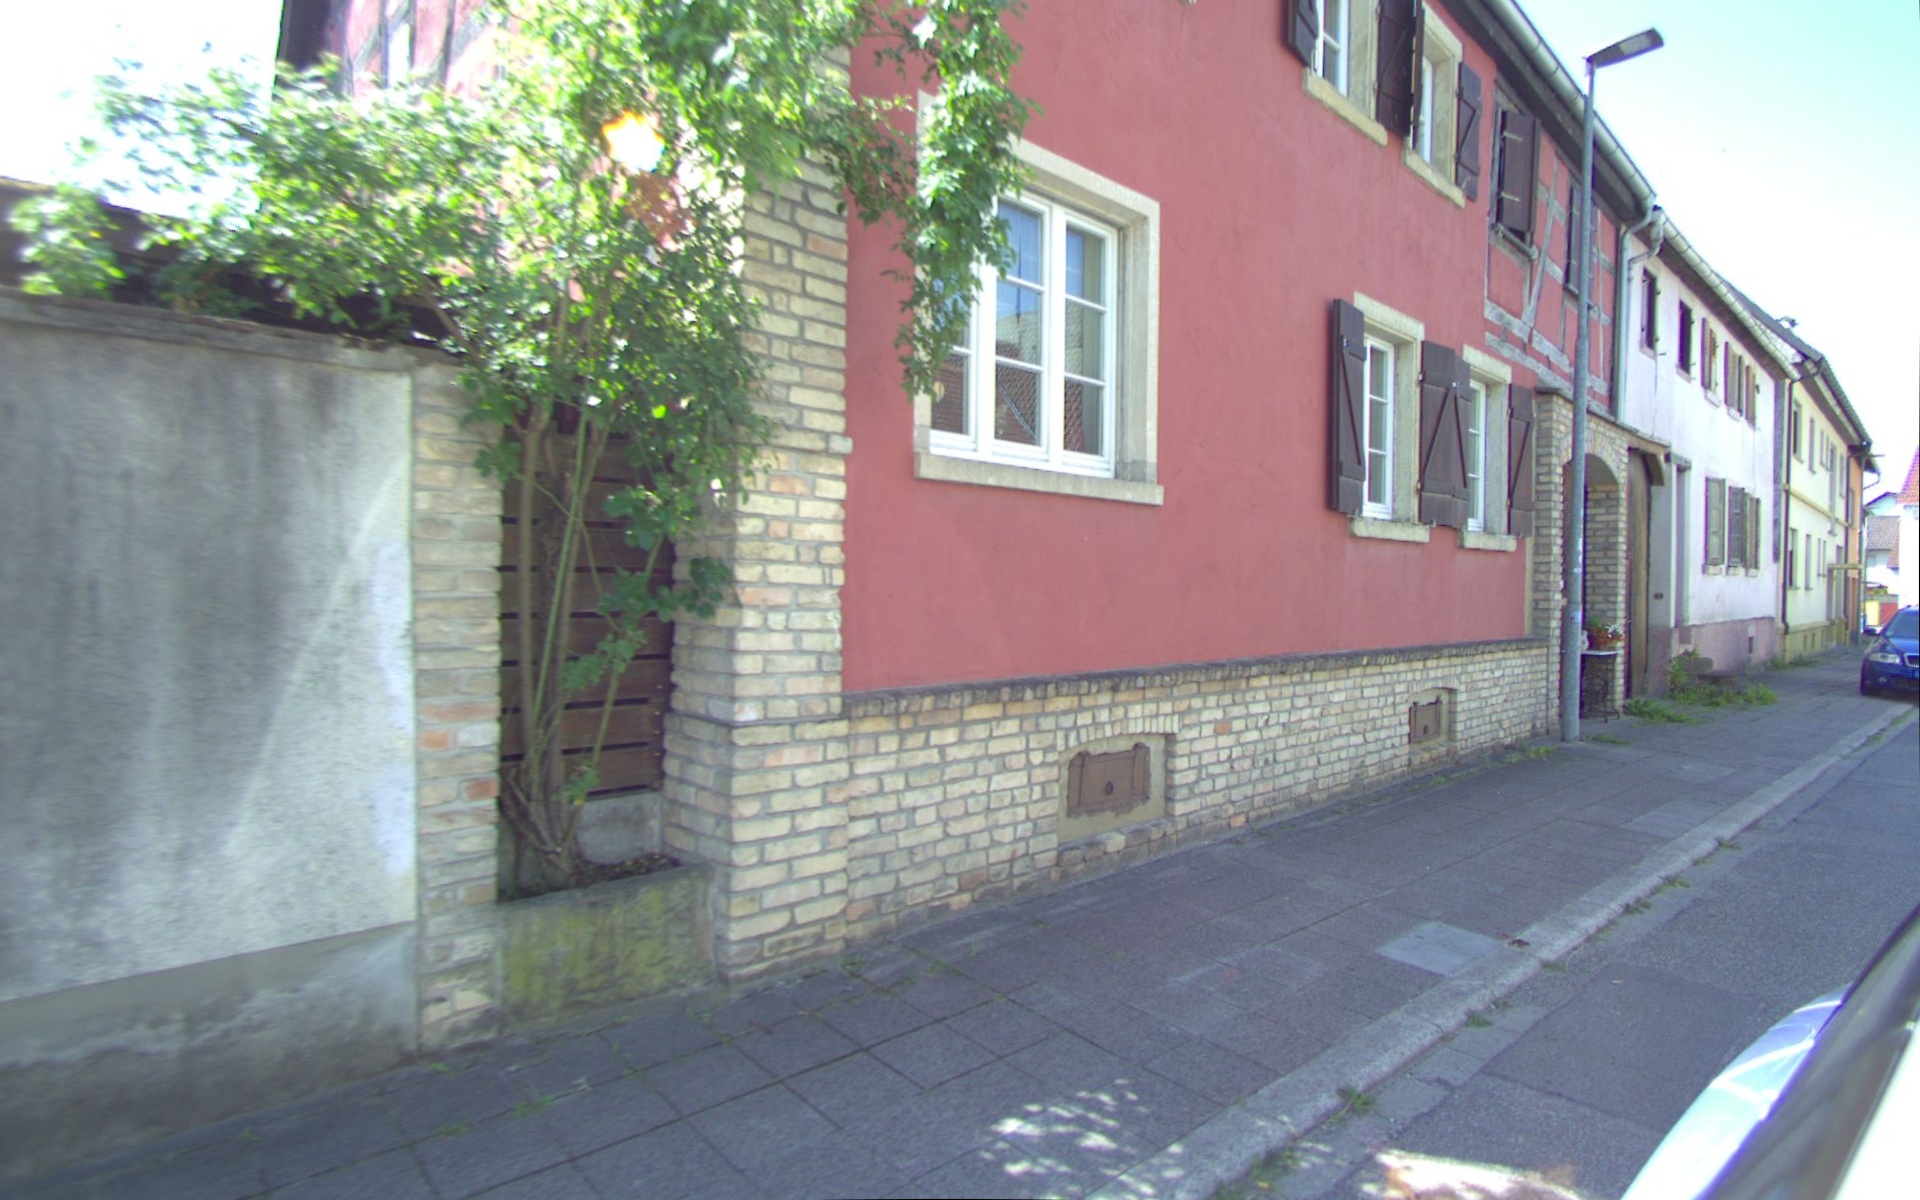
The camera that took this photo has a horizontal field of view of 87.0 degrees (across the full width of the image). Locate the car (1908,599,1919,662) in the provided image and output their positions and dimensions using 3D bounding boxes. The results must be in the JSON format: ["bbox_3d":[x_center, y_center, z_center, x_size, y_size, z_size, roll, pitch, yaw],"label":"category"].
[{"bbox_3d":[24.205,0.743,24.461,3.657,1.456,1.553,0,2,-42],"label":"car"}]

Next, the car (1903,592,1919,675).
[{"bbox_3d":[20.550,0.678,20.631,3.960,1.603,1.701,0,2,-44],"label":"car"}]

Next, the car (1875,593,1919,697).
[{"bbox_3d":[15.684,0.671,15.875,4.338,1.487,1.700,0,2,-45],"label":"car"}]
